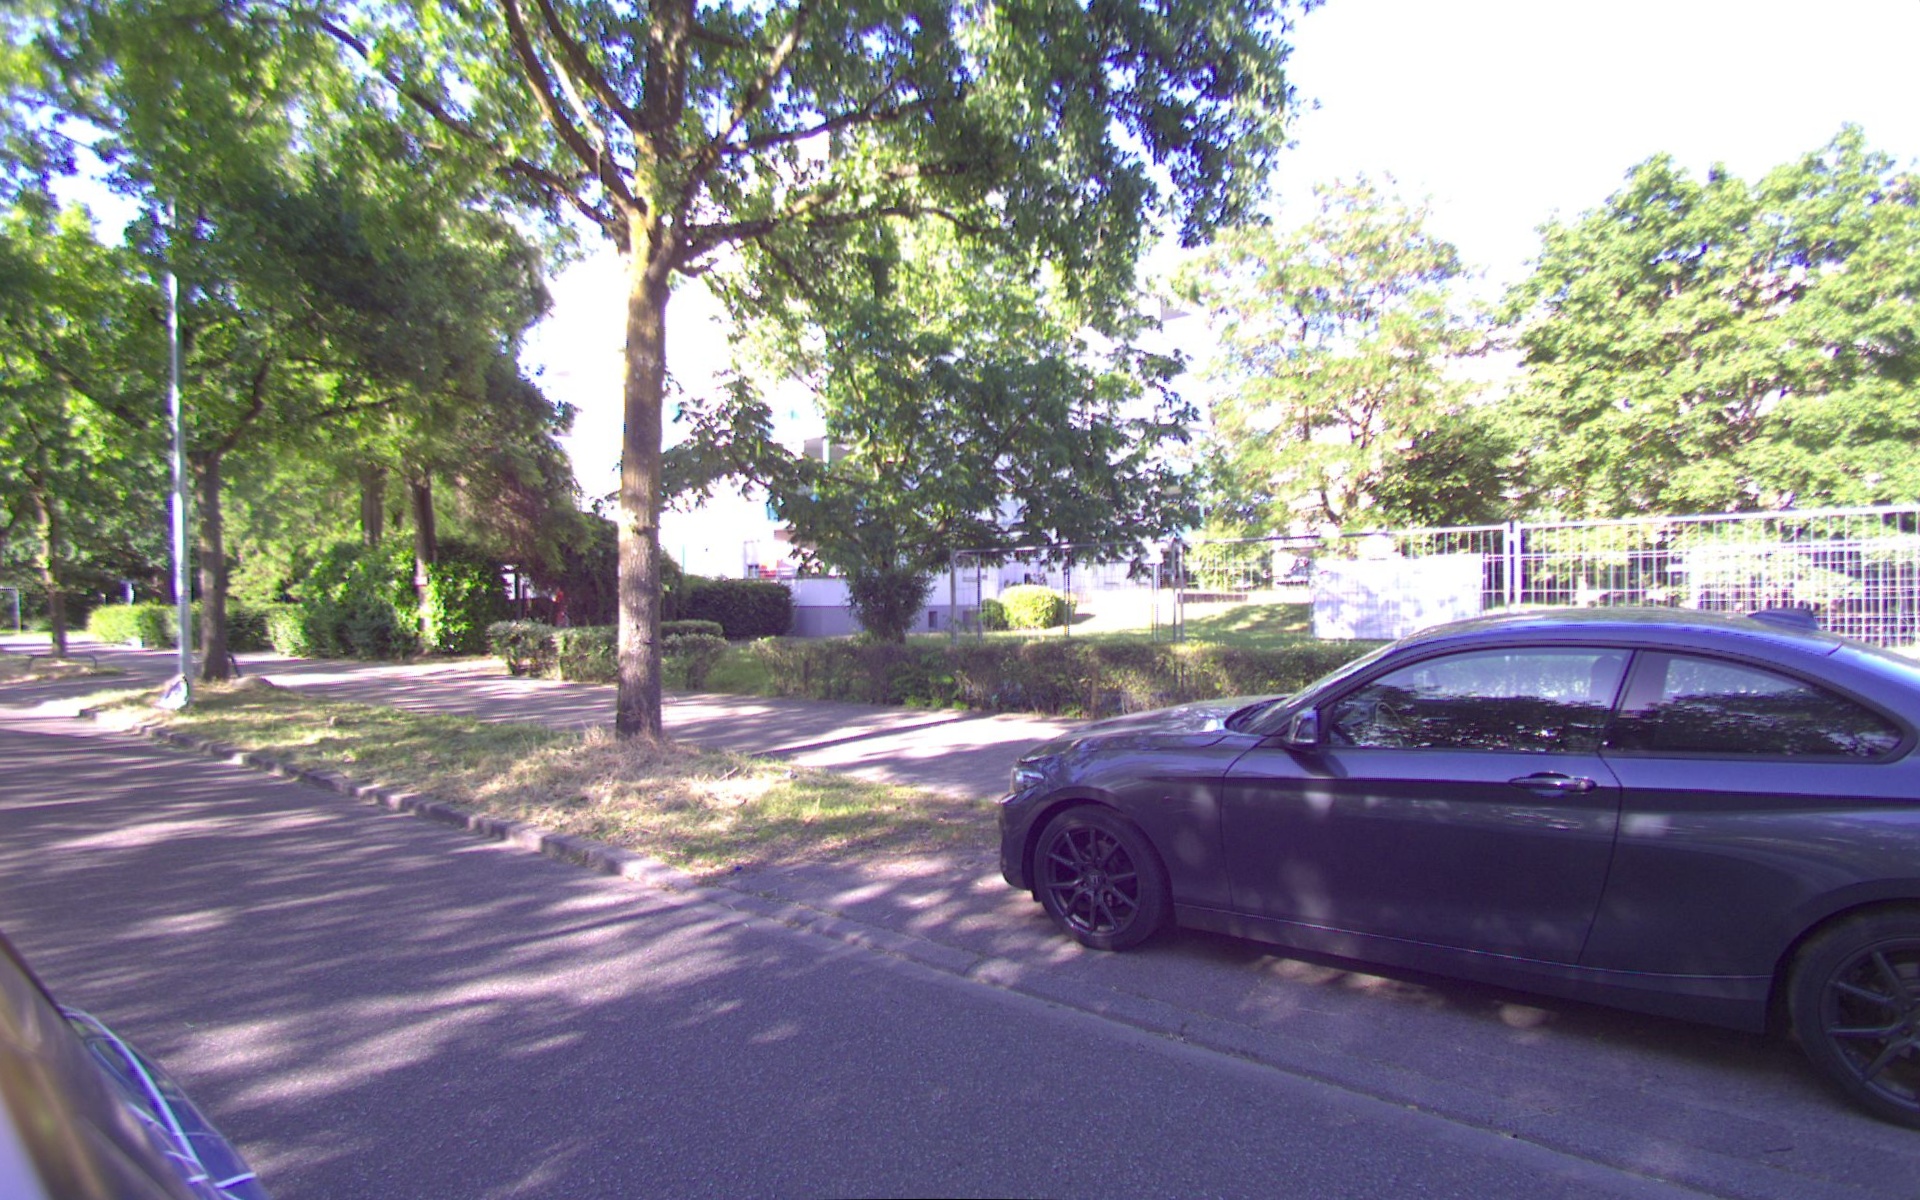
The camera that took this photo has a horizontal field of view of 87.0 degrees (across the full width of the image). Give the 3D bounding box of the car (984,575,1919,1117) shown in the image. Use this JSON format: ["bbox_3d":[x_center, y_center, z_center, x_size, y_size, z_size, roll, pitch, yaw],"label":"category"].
[{"bbox_3d":[2.279,0.676,4.050,4.130,1.443,1.700,-1,1,37],"label":"car"}]
